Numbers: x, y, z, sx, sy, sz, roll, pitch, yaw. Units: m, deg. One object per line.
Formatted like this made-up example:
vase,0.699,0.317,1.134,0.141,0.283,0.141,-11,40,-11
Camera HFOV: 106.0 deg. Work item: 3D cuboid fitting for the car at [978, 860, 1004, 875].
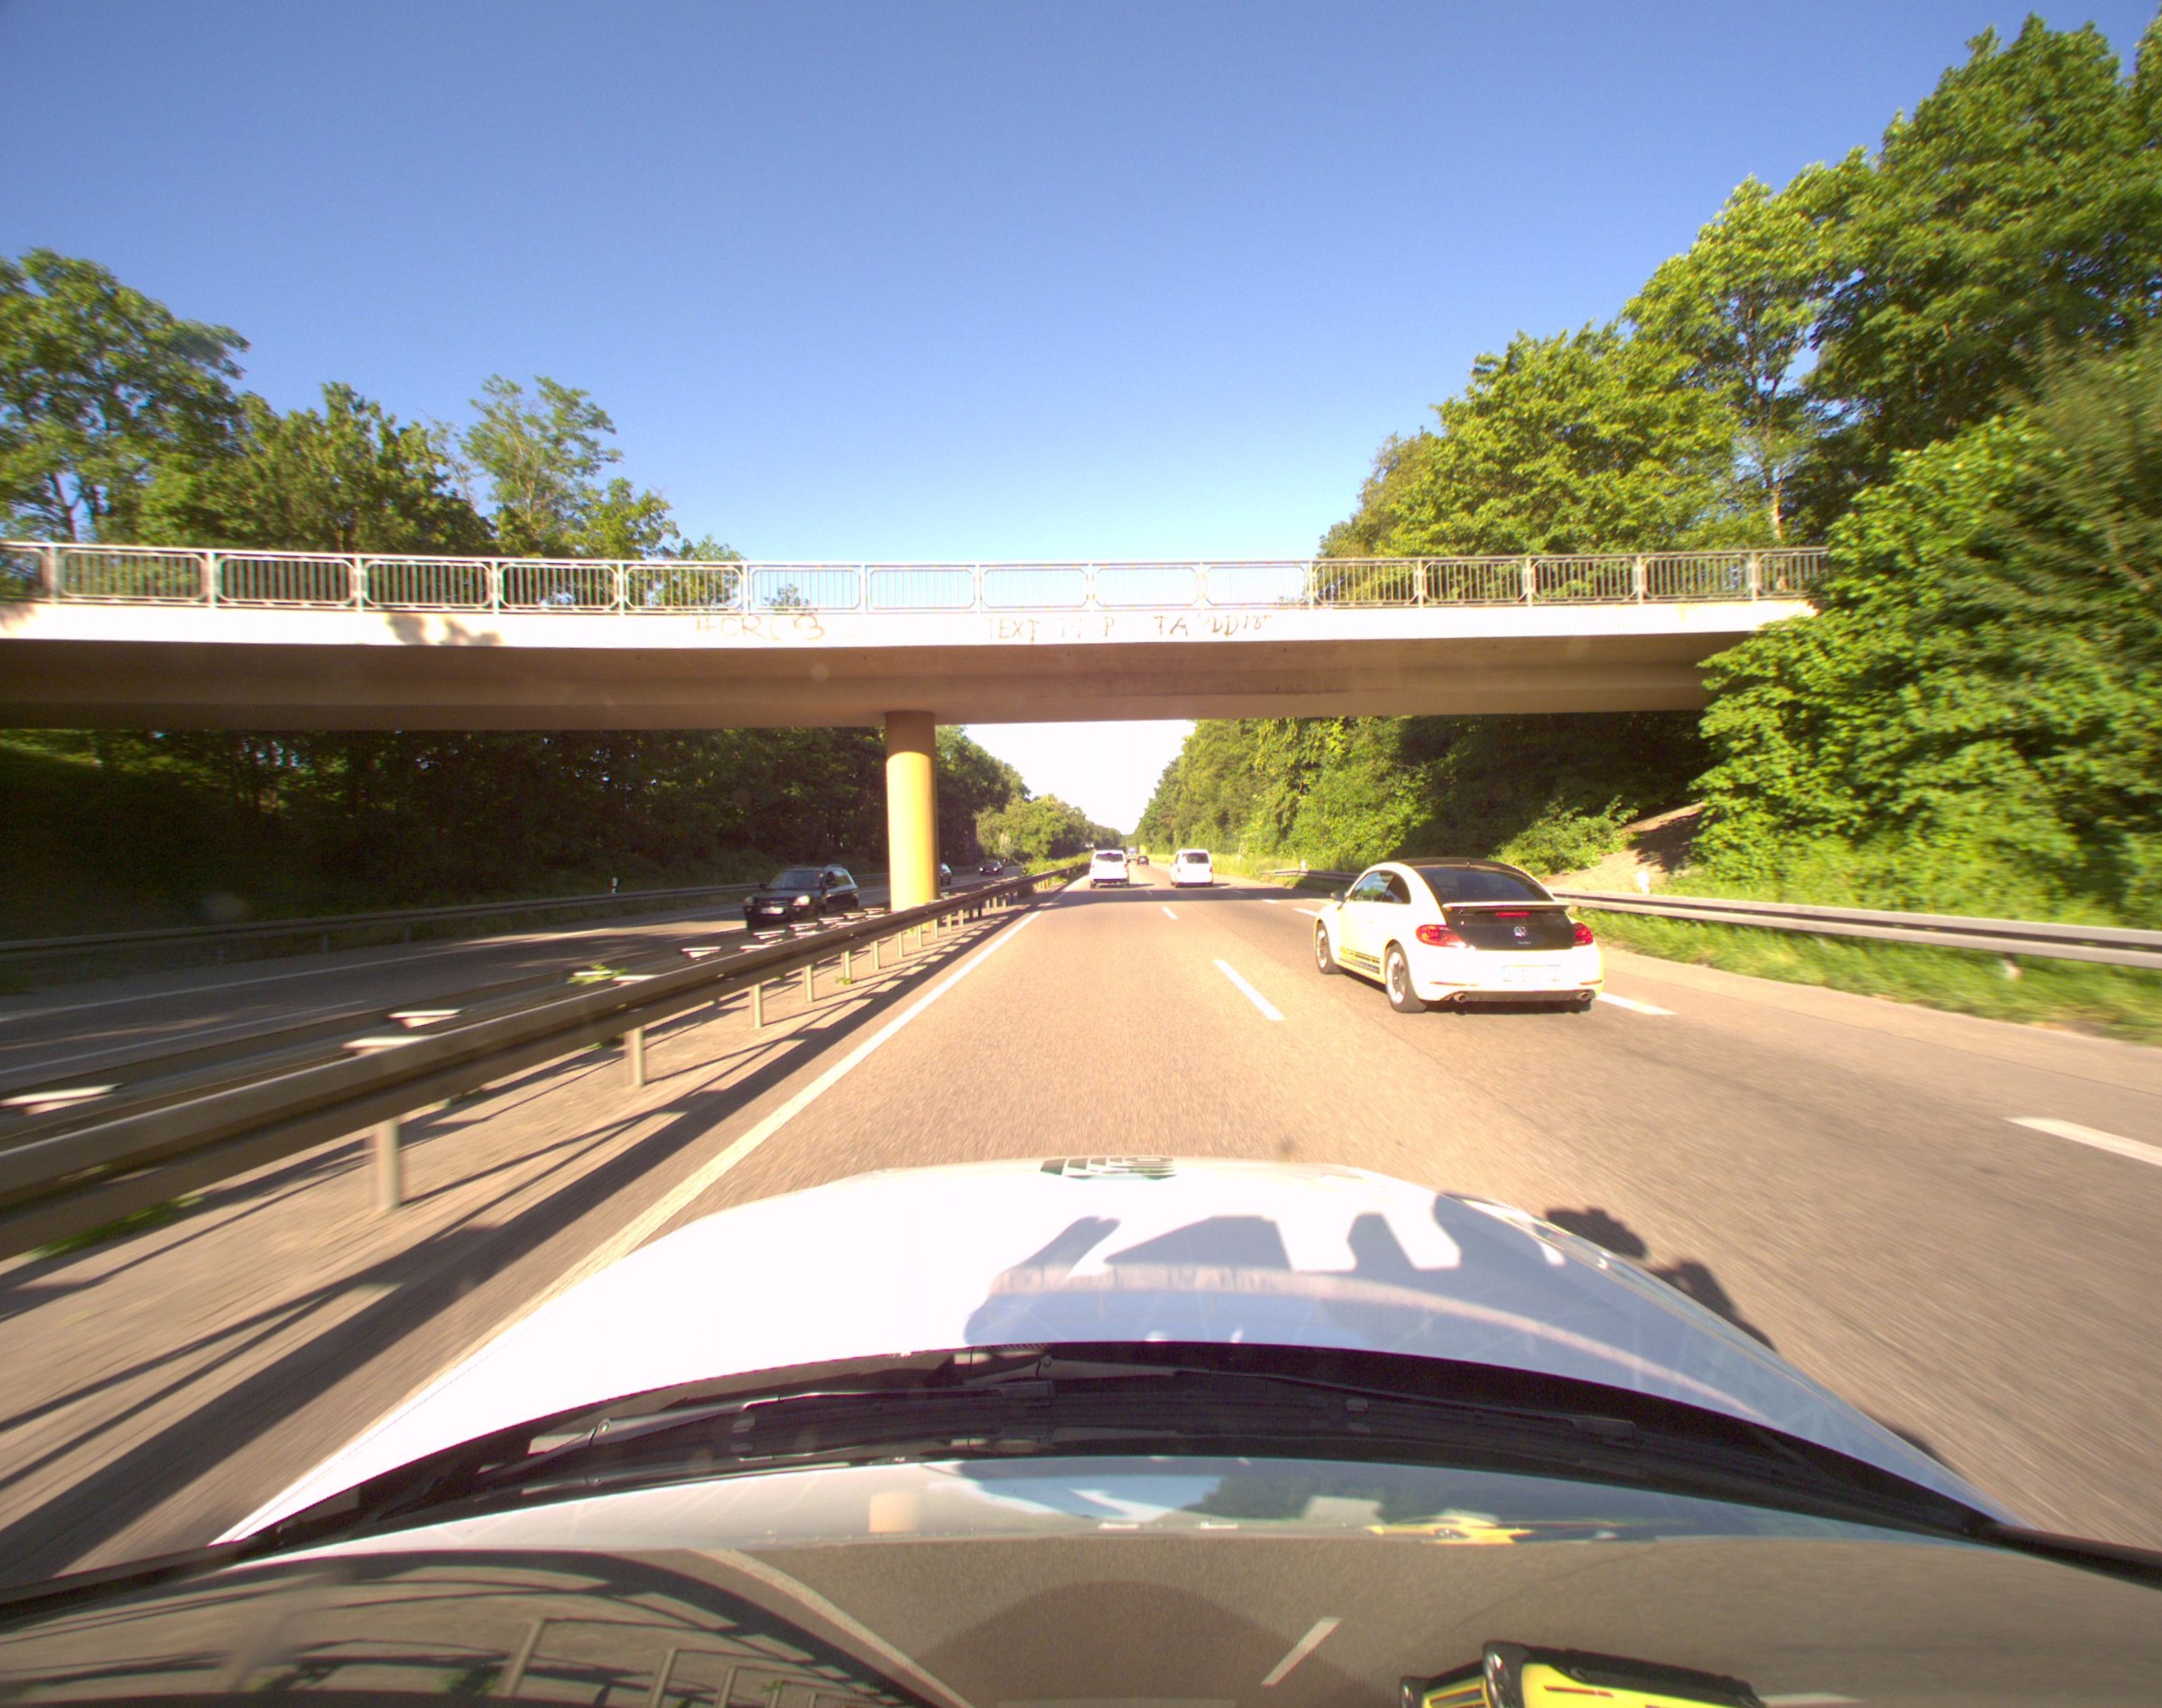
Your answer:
car,-9.070,1.328,82.046,1.953,1.450,4.585,-1,0,1

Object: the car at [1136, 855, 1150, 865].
car,9.407,0.927,123.773,1.985,1.398,4.003,-2,0,2

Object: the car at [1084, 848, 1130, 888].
car,1.235,0.638,39.205,2.078,1.828,4.000,-1,0,1

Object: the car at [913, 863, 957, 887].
car,-9.717,1.351,54.497,1.953,1.450,4.708,1,0,2

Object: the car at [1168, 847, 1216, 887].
car,5.293,0.593,39.314,1.856,1.770,4.472,-2,0,2

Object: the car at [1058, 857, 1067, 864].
car,-4.227,1.425,184.074,1.954,1.450,4.506,-1,0,0

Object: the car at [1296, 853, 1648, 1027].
car,3.921,0.732,9.139,1.873,1.461,4.356,-1,0,0

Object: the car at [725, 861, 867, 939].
car,-7.271,1.084,21.333,1.953,1.724,4.593,-2,0,1

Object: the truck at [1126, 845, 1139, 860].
truck,15.468,-0.406,245.168,3.482,4.173,8.867,-2,0,3
